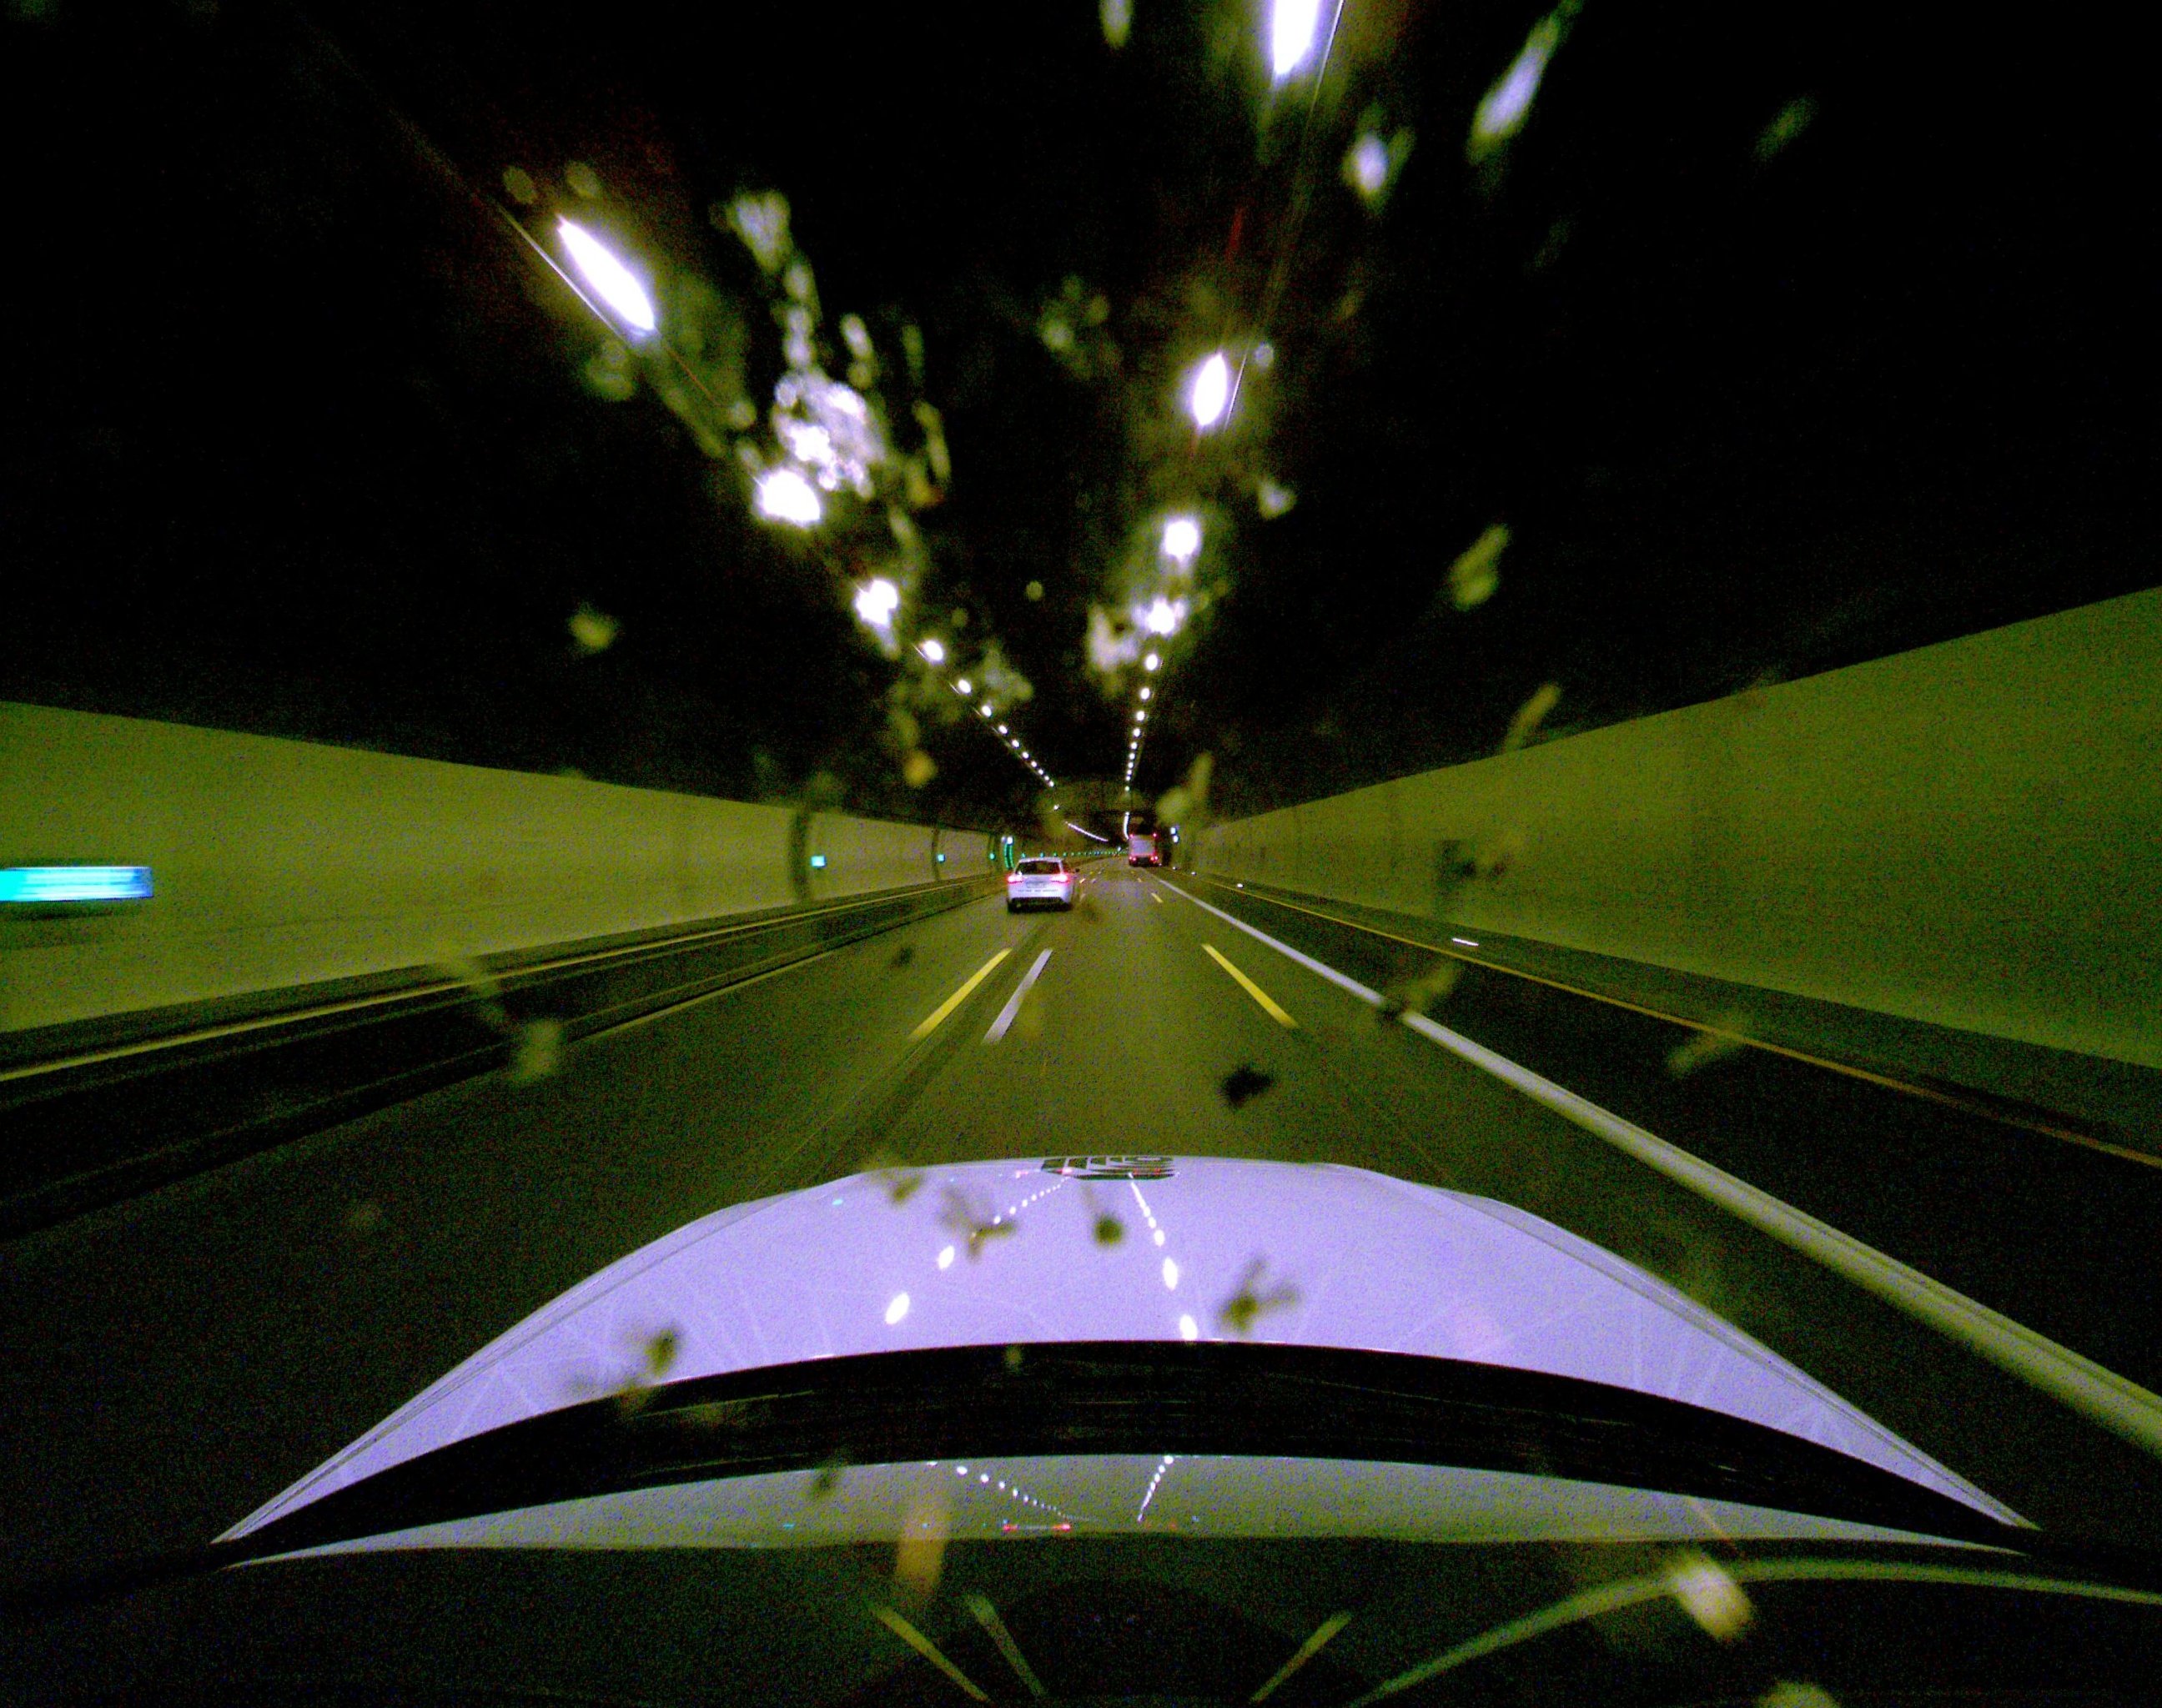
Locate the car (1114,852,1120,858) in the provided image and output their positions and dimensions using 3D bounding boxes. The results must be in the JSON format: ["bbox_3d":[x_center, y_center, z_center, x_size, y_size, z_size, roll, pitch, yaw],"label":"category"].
[{"bbox_3d":[10.894,0.298,246.893,1.752,1.461,4.121,-3,1,2],"label":"car"}]

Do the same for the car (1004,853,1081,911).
[{"bbox_3d":[-1.008,0.746,23.772,1.896,1.485,4.945,-1,0,1],"label":"car"}]

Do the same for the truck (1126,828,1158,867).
[{"bbox_3d":[6.725,-0.631,90.529,3.080,3.918,10.373,-2,-1,2],"label":"truck"}]
